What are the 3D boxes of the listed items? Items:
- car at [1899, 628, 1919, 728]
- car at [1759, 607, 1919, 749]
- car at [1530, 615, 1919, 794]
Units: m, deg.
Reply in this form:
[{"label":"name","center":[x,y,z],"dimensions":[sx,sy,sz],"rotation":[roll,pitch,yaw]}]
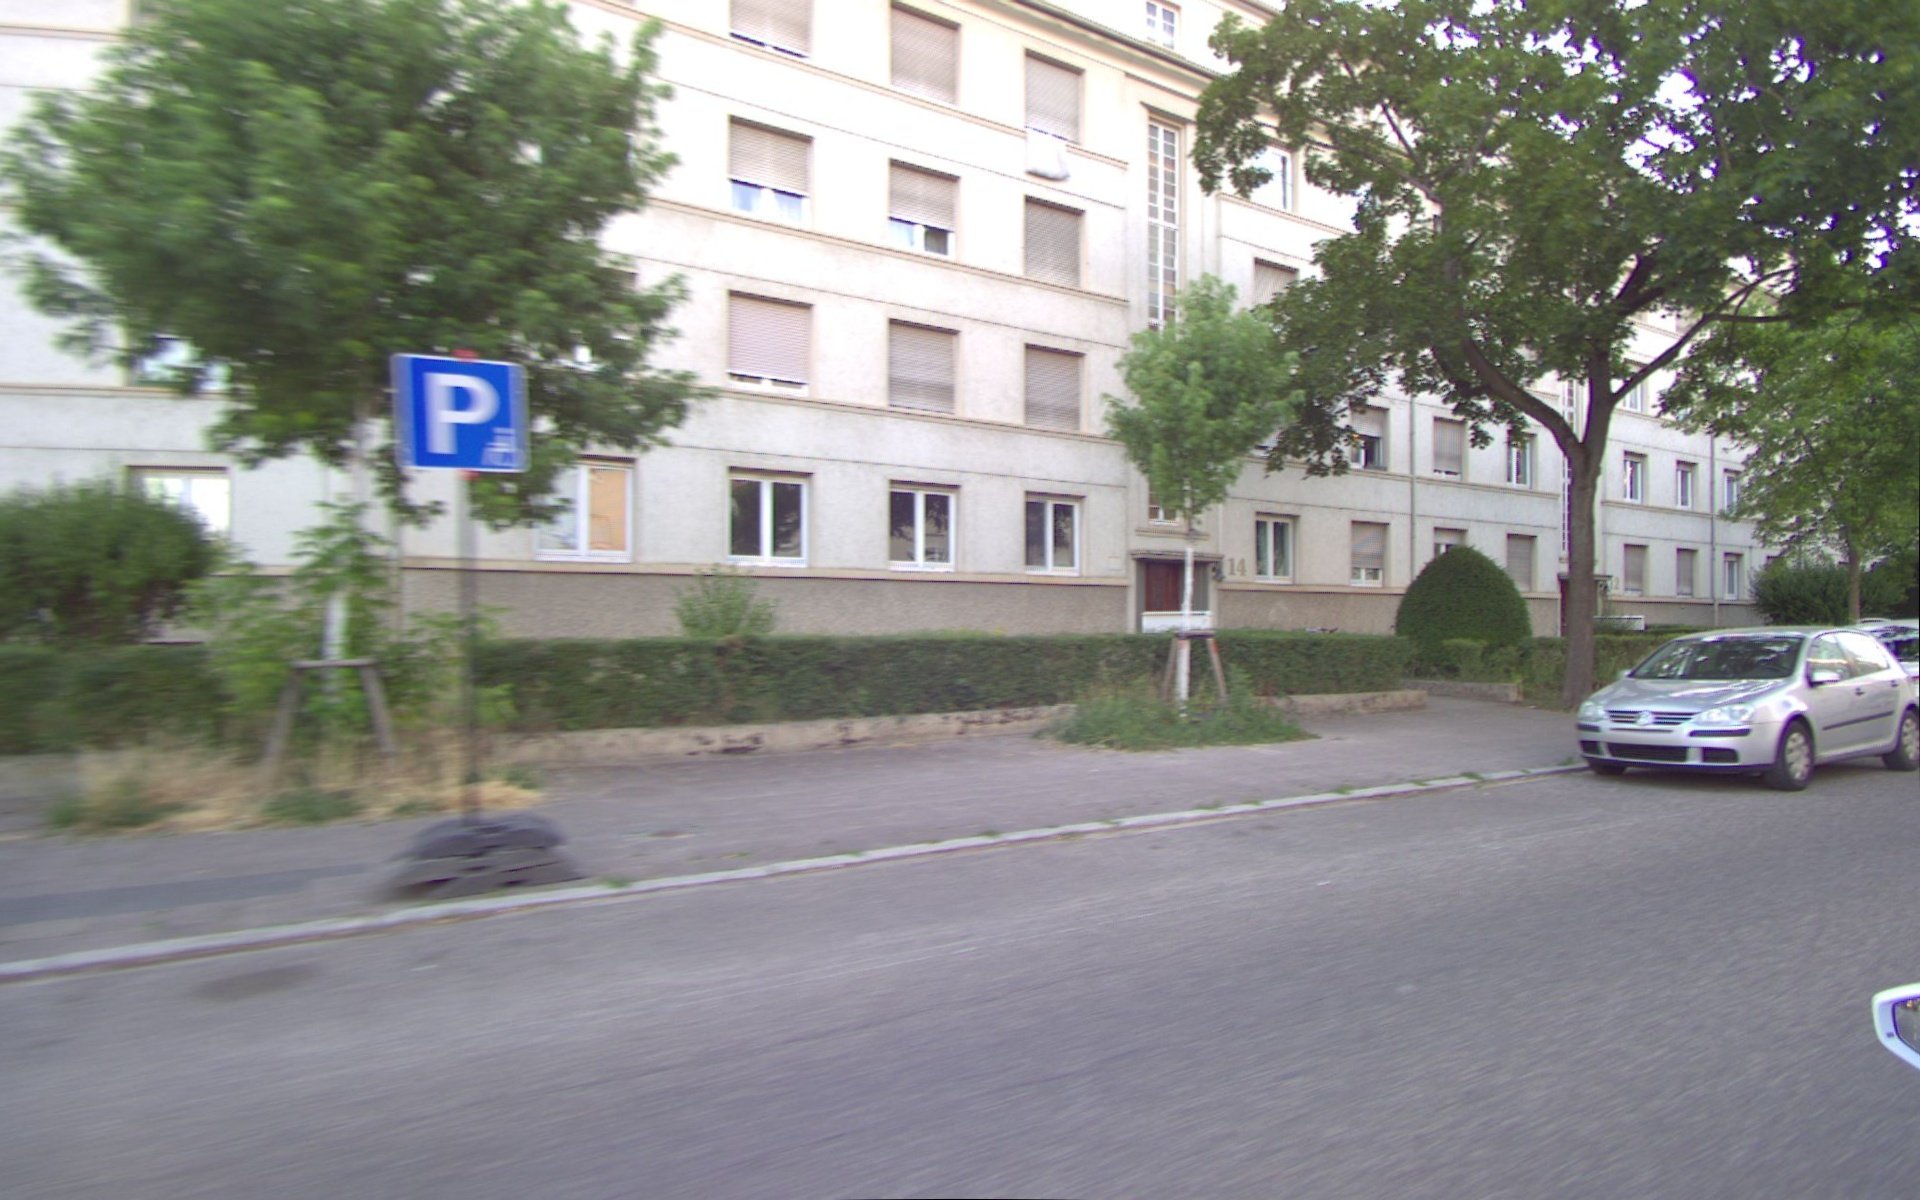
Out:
[{"label":"car","center":[16.515,1.150,15.548],"dimensions":[3.897,1.498,1.745],"rotation":[1,-4,-30]},{"label":"car","center":[12.600,0.986,13.399],"dimensions":[4.062,1.653,1.743],"rotation":[1,-4,-32]},{"label":"car","center":[7.900,0.956,10.197],"dimensions":[4.173,1.490,1.745],"rotation":[1,-4,-30]}]
